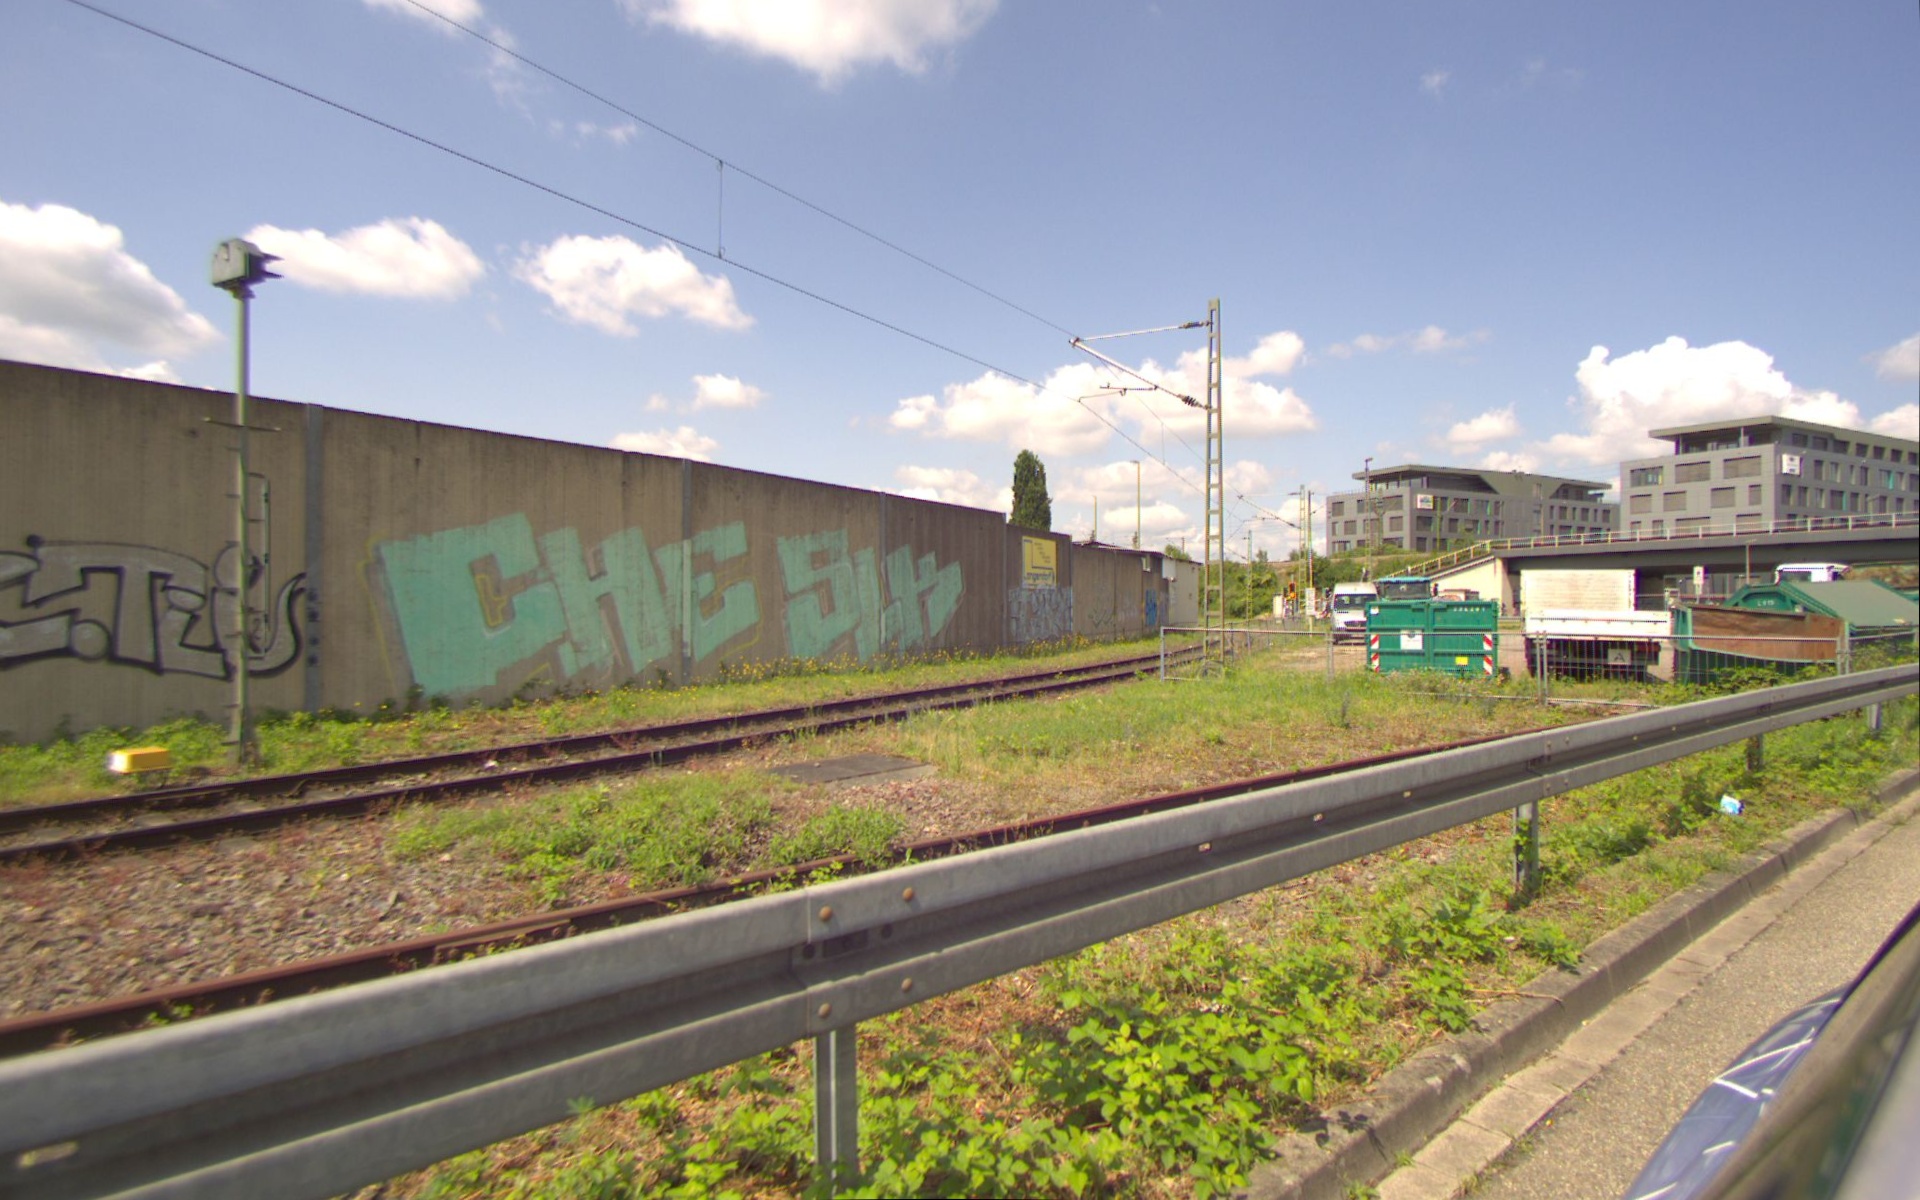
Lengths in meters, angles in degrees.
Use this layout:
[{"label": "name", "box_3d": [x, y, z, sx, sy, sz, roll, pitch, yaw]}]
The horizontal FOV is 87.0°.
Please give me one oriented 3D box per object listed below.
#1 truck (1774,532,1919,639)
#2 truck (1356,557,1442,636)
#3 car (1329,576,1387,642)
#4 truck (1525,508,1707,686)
[{"label": "truck", "box_3d": [28.670, -0.439, 30.978, 1.959, 3.137, 5.522, 0, 0, -27]}, {"label": "truck", "box_3d": [22.434, -0.184, 52.087, 2.614, 3.692, 6.864, -2, 0, 12]}, {"label": "car", "box_3d": [16.733, 0.348, 42.514, 2.042, 2.559, 5.839, -2, 0, 22]}, {"label": "truck", "box_3d": [15.168, -0.110, 23.983, 2.968, 3.462, 8.033, 0, 1, 28]}]
